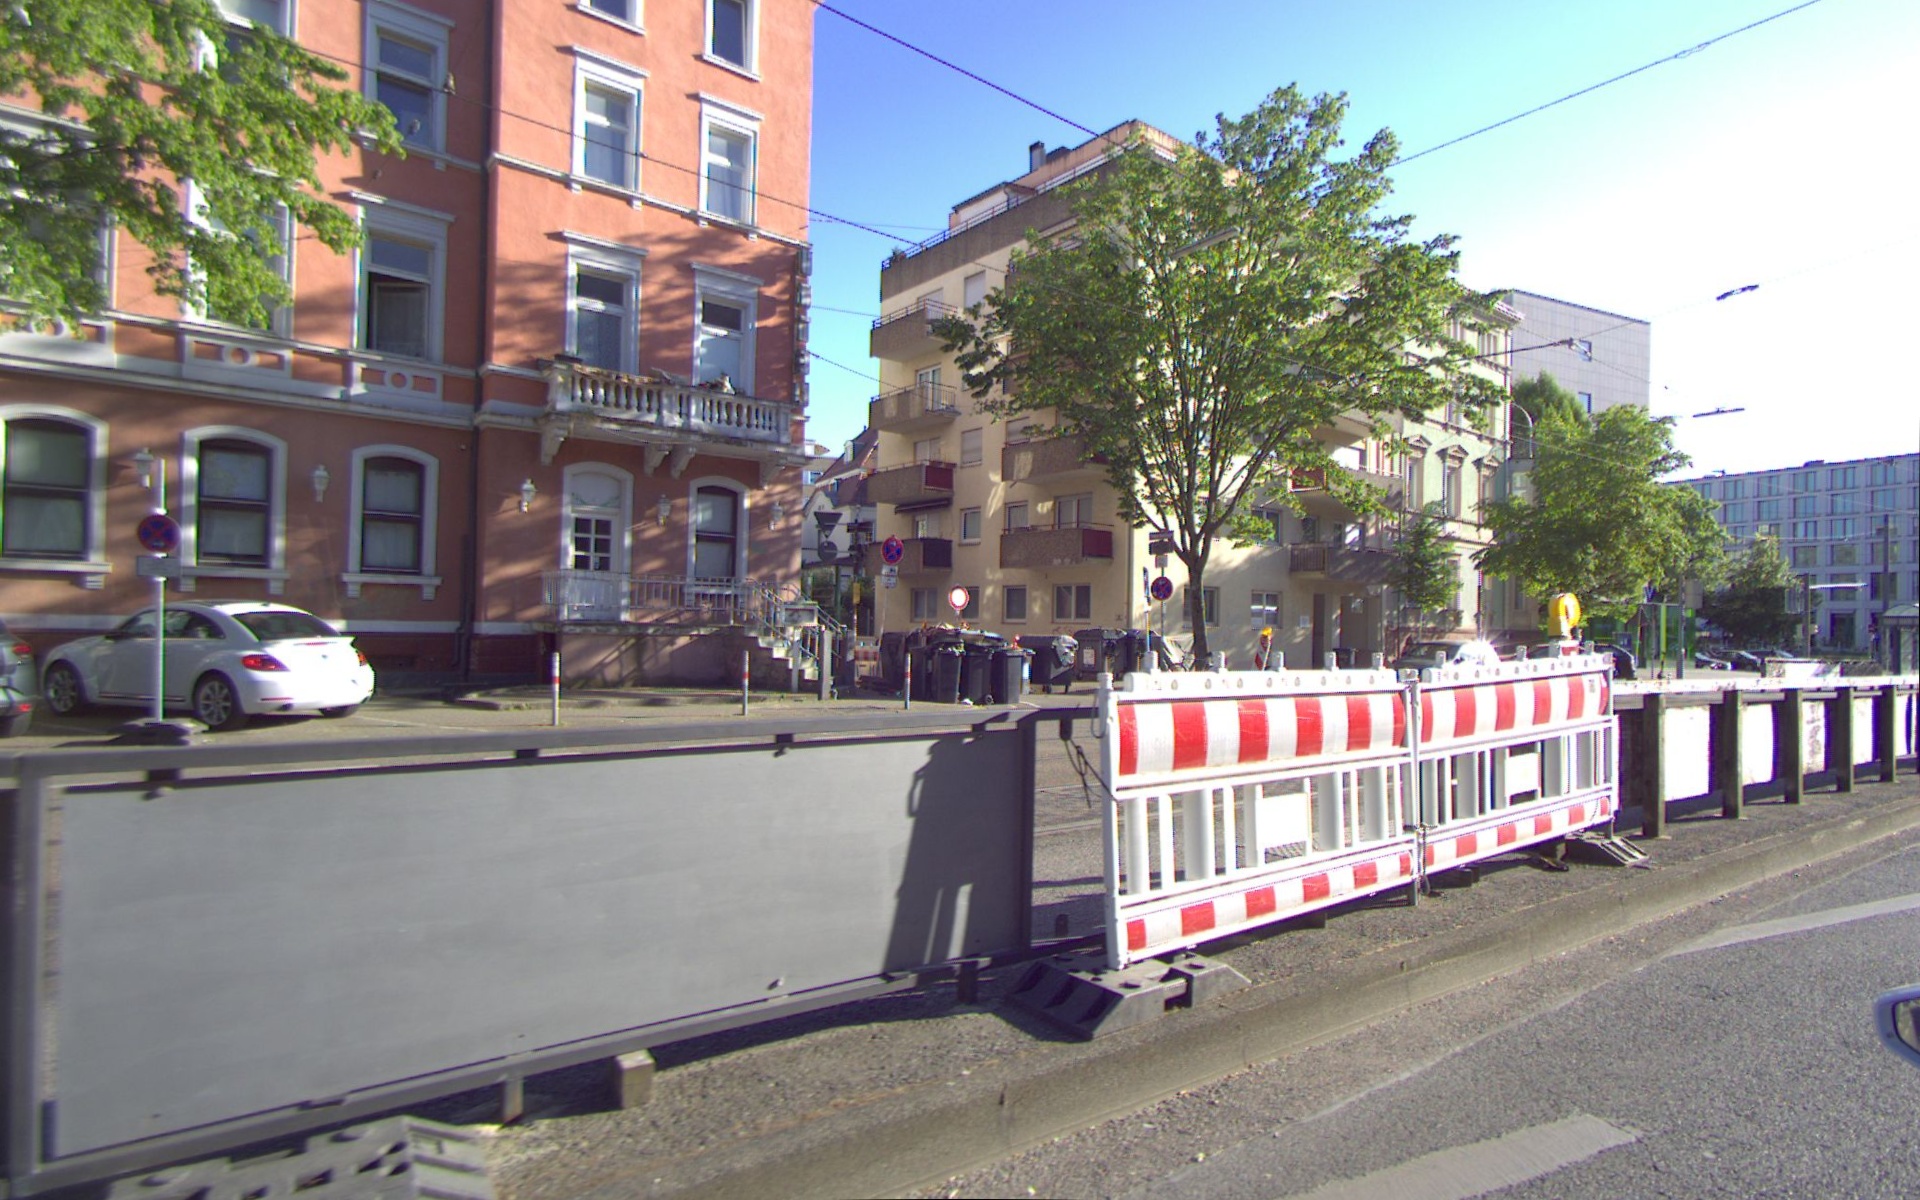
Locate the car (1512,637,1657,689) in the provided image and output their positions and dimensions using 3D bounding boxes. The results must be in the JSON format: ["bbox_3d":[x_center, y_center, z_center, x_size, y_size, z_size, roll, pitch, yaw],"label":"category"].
[{"bbox_3d":[23.787,2.364,38.435,4.426,1.663,1.590,3,-1,20],"label":"car"}]

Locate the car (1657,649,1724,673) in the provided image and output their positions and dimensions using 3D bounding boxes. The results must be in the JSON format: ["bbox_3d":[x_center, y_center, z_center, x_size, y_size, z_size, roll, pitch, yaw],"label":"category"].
[{"bbox_3d":[51.248,4.266,70.541,1.503,1.526,3.517,2,-1,-27],"label":"car"}]

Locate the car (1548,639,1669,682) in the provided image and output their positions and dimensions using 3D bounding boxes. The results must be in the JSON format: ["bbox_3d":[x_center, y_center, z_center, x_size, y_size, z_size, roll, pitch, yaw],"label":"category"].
[{"bbox_3d":[29.013,2.696,45.067,4.438,1.590,1.586,2,-1,33],"label":"car"}]

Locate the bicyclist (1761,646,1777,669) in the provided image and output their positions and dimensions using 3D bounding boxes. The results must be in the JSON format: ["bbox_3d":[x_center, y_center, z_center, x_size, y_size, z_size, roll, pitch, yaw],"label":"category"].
[{"bbox_3d":[55.672,3.955,69.101,0.584,1.603,0.619,2,-2,-14],"label":"bicyclist"}]

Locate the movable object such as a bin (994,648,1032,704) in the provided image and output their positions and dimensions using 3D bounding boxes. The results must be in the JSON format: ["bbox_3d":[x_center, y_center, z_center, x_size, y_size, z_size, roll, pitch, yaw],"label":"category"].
[{"bbox_3d":[1.058,1.514,20.063,0.631,1.082,0.378,2,-2,-26],"label":"movable object such as a bin"}]

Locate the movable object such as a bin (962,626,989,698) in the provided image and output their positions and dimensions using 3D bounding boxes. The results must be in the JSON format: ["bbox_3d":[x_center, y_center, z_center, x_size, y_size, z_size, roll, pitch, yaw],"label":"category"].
[{"bbox_3d":[0.313,1.261,20.534,0.381,1.445,0.378,2,-2,-26],"label":"movable object such as a bin"}]

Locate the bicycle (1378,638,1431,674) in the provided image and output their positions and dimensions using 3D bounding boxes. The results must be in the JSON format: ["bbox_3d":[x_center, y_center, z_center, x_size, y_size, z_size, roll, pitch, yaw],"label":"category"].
[{"bbox_3d":[18.039,2.273,40.720,2.986,1.416,0.711,3,-2,-40],"label":"bicycle"}]

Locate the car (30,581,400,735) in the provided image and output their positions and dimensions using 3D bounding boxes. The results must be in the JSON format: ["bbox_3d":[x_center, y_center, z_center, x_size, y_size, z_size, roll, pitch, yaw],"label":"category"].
[{"bbox_3d":[-9.424,0.659,12.782,3.838,1.542,1.736,4,1,15],"label":"car"}]

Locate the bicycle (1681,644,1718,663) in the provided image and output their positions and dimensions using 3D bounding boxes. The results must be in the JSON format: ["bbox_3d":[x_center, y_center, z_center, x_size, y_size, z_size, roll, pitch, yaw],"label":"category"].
[{"bbox_3d":[54.051,3.919,73.413,0.873,1.305,2.046,2,-2,-19],"label":"bicycle"}]

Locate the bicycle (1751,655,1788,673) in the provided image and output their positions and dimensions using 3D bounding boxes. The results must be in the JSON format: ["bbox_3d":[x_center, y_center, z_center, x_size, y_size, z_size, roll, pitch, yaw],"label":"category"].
[{"bbox_3d":[55.659,4.405,69.075,0.777,1.137,1.924,2,-2,-13],"label":"bicycle"}]

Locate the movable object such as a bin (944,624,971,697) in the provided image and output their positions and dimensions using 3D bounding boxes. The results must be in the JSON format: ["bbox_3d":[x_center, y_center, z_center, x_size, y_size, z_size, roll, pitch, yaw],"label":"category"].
[{"bbox_3d":[-0.047,1.222,20.317,0.382,1.445,0.378,2,-2,-26],"label":"movable object such as a bin"}]

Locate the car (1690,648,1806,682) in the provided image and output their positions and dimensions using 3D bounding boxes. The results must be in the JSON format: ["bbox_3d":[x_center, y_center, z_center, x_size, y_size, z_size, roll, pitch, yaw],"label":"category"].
[{"bbox_3d":[39.691,3.244,50.750,4.438,1.368,1.586,2,-1,33],"label":"car"}]

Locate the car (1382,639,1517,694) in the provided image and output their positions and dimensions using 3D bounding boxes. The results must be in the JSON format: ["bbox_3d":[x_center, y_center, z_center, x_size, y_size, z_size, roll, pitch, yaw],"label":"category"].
[{"bbox_3d":[14.636,1.981,29.965,4.249,1.429,1.695,3,0,-34],"label":"car"}]

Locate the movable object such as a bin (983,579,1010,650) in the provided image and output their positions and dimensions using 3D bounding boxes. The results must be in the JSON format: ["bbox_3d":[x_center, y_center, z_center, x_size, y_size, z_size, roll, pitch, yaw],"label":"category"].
[{"bbox_3d":[0.748,0.311,20.789,0.382,1.445,0.378,2,-2,-26],"label":"movable object such as a bin"}]

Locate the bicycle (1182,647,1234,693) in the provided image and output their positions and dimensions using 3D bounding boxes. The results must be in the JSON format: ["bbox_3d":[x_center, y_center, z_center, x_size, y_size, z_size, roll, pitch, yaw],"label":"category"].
[{"bbox_3d":[6.157,1.743,24.951,1.387,1.131,0.263,3,-2,-27],"label":"bicycle"}]

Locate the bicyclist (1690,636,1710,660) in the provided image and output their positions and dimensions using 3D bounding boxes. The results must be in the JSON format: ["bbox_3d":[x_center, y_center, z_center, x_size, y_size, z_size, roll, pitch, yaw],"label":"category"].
[{"bbox_3d":[54.067,3.485,73.421,0.831,1.717,0.889,2,-2,-20],"label":"bicyclist"}]

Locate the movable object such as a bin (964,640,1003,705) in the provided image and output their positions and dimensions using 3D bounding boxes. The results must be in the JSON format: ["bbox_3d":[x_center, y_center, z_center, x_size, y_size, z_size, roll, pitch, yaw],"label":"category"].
[{"bbox_3d":[0.461,1.424,19.823,0.631,1.258,0.378,2,-2,-26],"label":"movable object such as a bin"}]

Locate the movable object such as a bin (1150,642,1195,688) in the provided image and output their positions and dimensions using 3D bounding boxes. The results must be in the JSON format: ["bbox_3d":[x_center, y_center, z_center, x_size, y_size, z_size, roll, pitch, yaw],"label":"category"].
[{"bbox_3d":[5.428,1.674,25.685,1.135,1.141,0.423,3,-2,-33],"label":"movable object such as a bin"}]

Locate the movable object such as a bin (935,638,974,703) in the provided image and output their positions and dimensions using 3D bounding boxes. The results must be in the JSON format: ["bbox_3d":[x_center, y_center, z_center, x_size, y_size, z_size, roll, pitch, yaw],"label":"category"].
[{"bbox_3d":[-0.103,1.362,19.472,0.631,1.218,0.378,2,-2,-26],"label":"movable object such as a bin"}]

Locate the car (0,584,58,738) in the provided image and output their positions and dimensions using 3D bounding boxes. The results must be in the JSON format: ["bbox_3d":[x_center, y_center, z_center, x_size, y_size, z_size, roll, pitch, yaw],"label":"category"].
[{"bbox_3d":[-11.712,0.524,10.579,3.845,1.528,1.689,4,1,21],"label":"car"}]

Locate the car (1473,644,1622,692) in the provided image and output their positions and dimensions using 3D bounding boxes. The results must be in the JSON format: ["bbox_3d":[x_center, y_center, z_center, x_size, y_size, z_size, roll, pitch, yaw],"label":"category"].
[{"bbox_3d":[21.394,2.451,36.803,4.428,1.444,1.873,3,-1,22],"label":"car"}]

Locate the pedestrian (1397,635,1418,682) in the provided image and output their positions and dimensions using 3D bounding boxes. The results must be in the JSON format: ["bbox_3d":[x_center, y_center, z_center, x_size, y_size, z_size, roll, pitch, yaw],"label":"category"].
[{"bbox_3d":[16.277,2.121,36.549,0.485,1.693,0.508,3,-2,-32],"label":"pedestrian"}]

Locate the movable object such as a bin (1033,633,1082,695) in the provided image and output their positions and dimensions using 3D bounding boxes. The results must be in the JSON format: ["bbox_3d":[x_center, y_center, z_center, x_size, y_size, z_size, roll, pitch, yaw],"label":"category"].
[{"bbox_3d":[2.401,1.579,24.676,1.135,1.477,0.423,4,-3,-32],"label":"movable object such as a bin"}]

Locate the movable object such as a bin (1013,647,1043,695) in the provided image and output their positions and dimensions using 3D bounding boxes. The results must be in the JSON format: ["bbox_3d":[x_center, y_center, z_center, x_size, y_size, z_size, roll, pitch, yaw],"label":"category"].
[{"bbox_3d":[1.632,1.713,24.117,0.547,1.111,0.377,4,-3,-32],"label":"movable object such as a bin"}]

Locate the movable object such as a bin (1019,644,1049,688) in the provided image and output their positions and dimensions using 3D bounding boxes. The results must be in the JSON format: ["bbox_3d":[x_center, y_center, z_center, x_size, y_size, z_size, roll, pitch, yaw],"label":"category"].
[{"bbox_3d":[1.827,1.629,24.834,0.547,1.047,0.444,4,-3,-32],"label":"movable object such as a bin"}]
